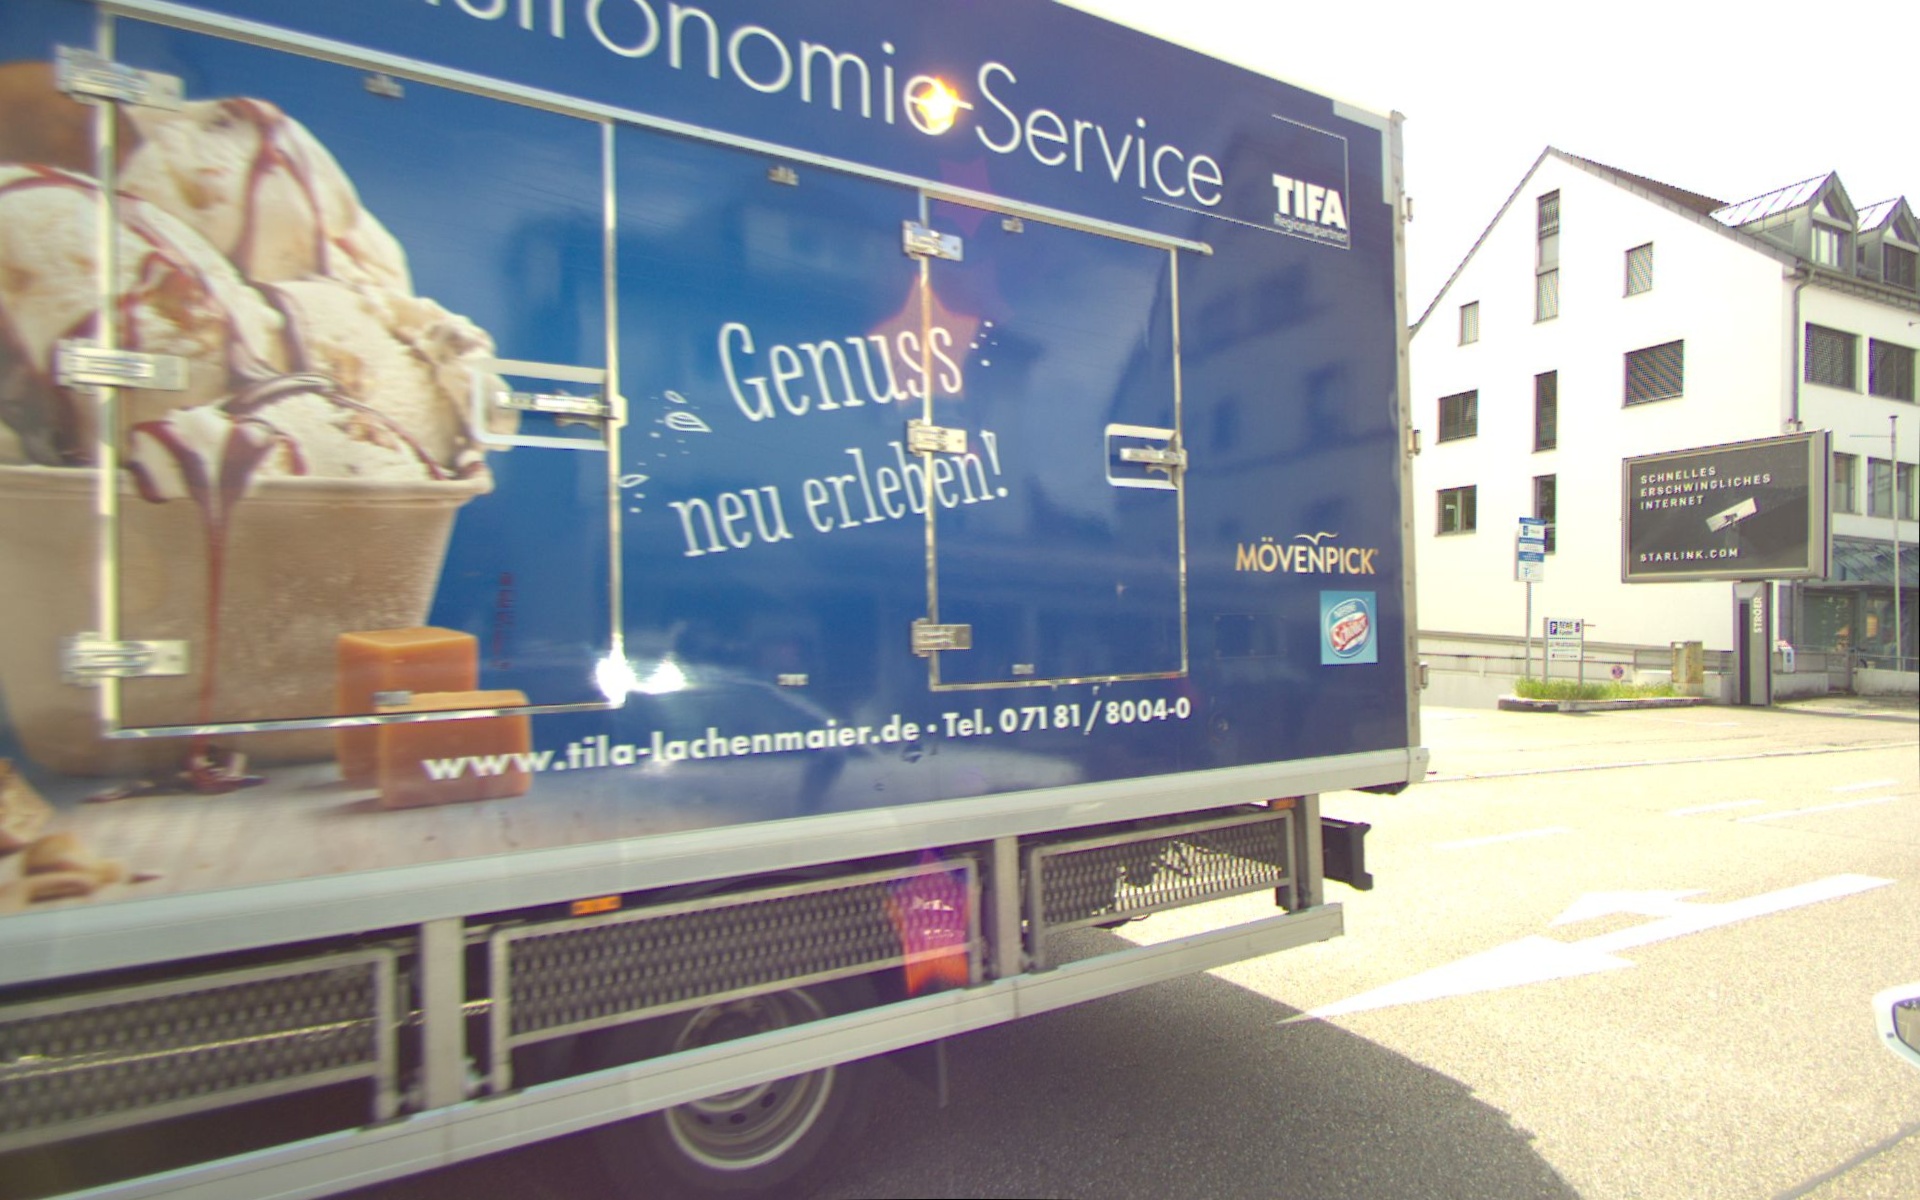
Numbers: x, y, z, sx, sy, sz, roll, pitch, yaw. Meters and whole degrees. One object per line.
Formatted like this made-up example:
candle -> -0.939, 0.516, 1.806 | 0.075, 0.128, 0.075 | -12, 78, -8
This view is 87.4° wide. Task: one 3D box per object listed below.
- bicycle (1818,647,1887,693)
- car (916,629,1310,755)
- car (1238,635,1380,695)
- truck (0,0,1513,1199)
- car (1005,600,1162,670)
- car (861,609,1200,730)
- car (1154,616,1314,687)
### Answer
bicycle -> 22.602, 1.767, 25.421 | 1.977, 1.109, 0.628 | 1, -1, -27
car -> 2.002, 1.100, 13.035 | 4.788, 1.376, 1.946 | 1, -1, -24
car -> 9.800, 1.788, 28.167 | 3.714, 1.549, 1.803 | 2, -2, -31
truck -> -2.195, -0.119, 2.918 | 7.989, 3.133, 2.842 | 2, -2, -29
car -> 4.824, 1.405, 39.019 | 5.897, 2.563, 2.056 | 1, -3, -25
car -> 1.082, 1.035, 15.507 | 4.857, 1.640, 1.948 | 1, -4, -22
car -> 8.319, 1.533, 30.425 | 4.585, 2.015, 1.833 | 1, -1, -25
